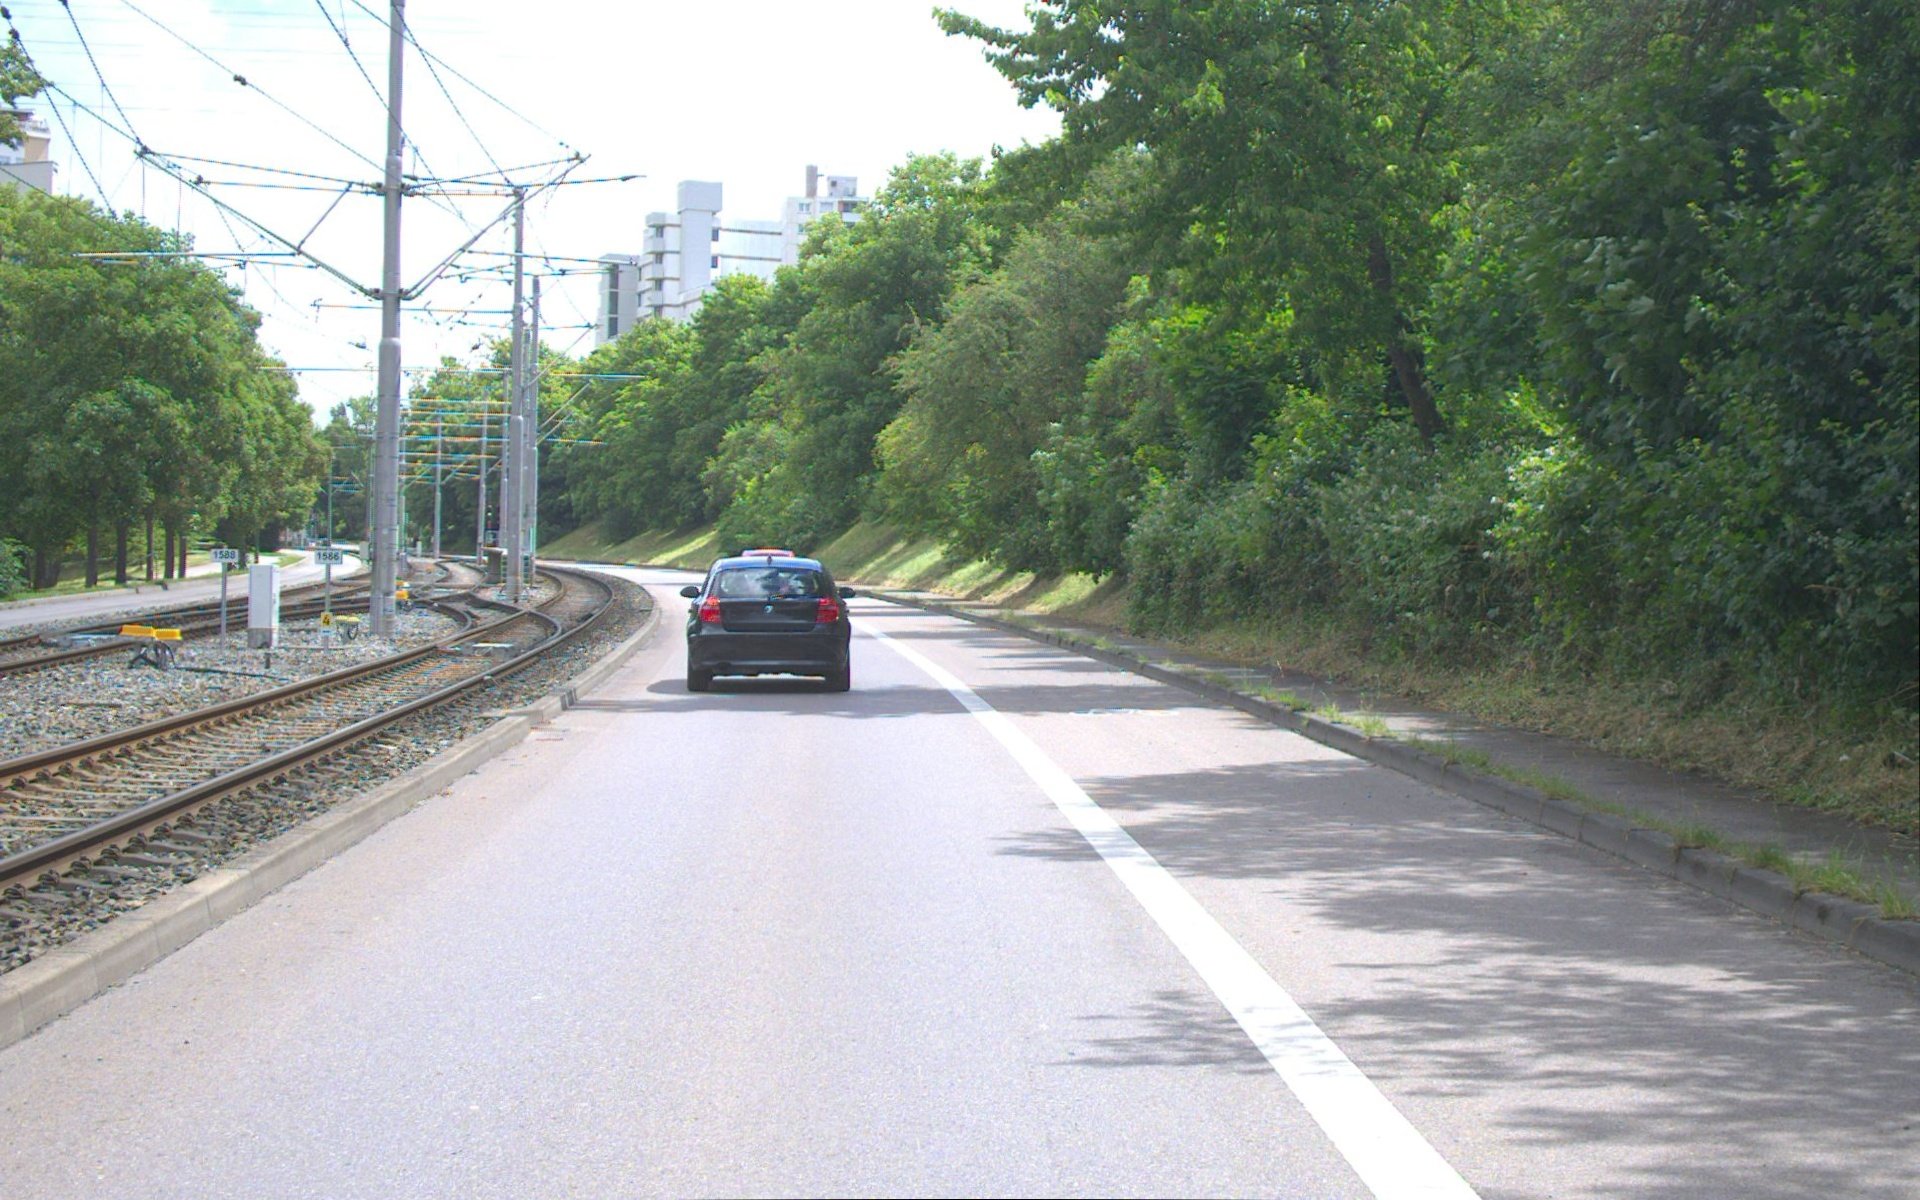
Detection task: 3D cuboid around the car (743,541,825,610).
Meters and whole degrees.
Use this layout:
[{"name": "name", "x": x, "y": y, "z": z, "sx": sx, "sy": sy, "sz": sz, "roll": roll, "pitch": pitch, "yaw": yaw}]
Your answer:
[{"name": "car", "x": -3.963, "y": -0.534, "z": 77.834, "sx": 1.624, "sy": 1.438, "sz": 3.421, "roll": 2, "pitch": -1, "yaw": 0}]

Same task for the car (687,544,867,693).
[{"name": "car", "x": -1.932, "y": 0.208, "z": 37.228, "sx": 1.708, "sy": 1.455, "sz": 3.960, "roll": 2, "pitch": -1, "yaw": 0}]
